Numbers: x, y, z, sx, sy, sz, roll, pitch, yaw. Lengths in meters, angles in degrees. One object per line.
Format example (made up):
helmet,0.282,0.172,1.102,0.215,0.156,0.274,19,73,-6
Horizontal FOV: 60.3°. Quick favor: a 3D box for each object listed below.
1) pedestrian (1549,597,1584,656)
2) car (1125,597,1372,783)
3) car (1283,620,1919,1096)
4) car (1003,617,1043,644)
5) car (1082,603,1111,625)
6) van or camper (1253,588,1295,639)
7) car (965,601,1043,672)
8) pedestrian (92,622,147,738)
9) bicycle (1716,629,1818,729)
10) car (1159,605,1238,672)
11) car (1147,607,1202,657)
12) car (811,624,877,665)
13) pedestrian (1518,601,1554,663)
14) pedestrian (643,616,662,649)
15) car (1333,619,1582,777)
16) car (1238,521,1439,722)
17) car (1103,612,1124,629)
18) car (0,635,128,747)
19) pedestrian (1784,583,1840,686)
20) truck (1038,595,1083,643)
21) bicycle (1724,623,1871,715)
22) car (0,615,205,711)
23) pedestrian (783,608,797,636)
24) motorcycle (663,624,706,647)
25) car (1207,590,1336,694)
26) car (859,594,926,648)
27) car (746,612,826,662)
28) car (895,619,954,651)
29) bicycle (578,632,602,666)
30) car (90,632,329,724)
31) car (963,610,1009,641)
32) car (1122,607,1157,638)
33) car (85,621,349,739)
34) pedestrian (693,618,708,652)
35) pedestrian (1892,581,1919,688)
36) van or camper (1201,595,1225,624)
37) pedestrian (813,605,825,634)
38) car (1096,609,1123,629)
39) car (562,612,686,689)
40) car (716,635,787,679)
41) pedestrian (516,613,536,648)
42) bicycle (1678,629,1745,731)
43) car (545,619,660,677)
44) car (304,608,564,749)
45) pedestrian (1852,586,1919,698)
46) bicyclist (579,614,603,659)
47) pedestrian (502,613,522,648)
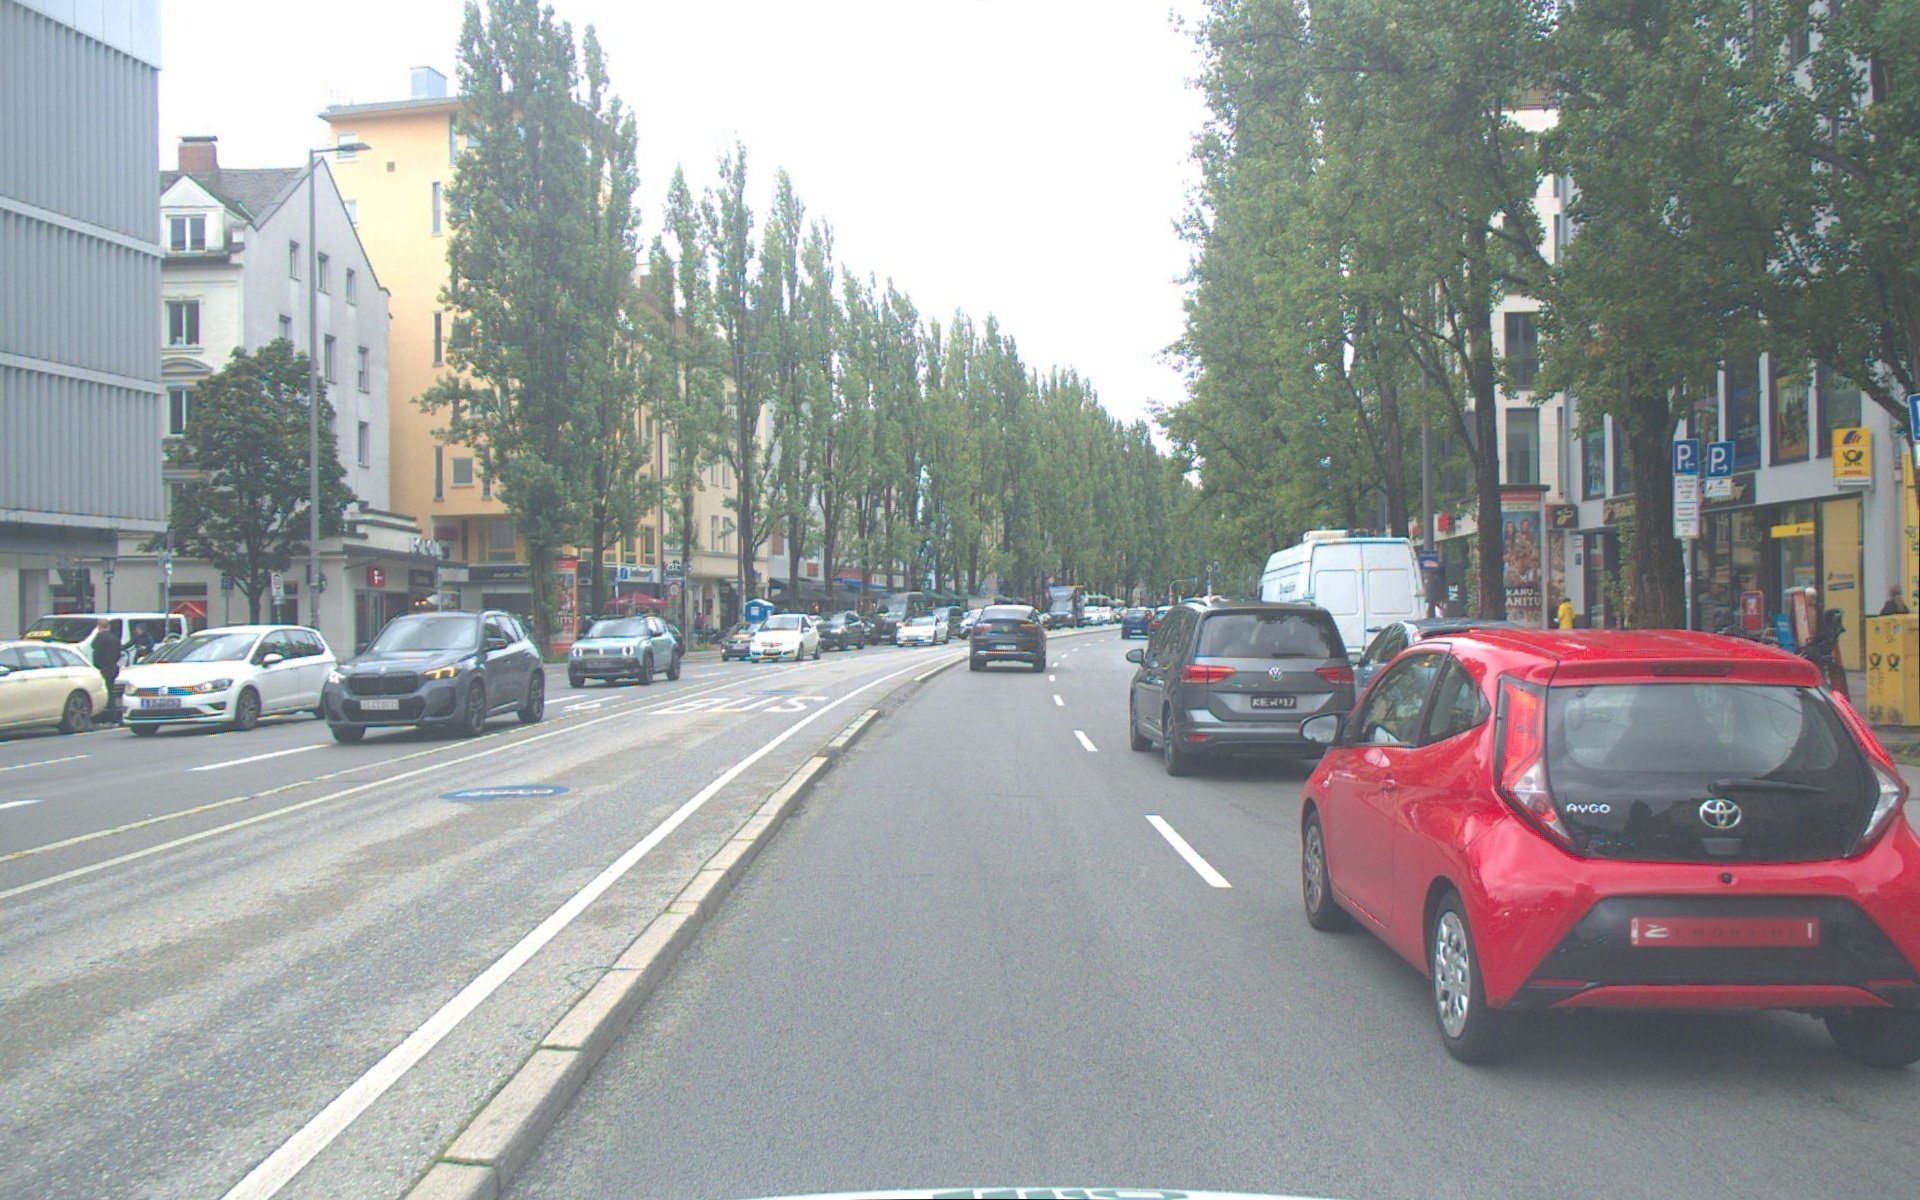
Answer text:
pedestrian,16.621,0.729,45.338,0.555,1.604,0.672,-1,-1,-24
car,2.762,0.816,16.735,1.725,1.642,4.183,0,-1,-1
car,2.520,0.842,6.973,1.631,1.471,3.596,1,-1,0
car,4.150,2.008,108.616,1.951,1.617,5.199,-3,-1,9
car,11.342,1.187,137.520,1.820,1.741,4.540,-2,-1,12
van or camper,20.343,0.876,106.929,2.408,3.167,4.719,-2,-1,13
car,1.154,0.890,41.988,1.841,1.670,4.584,-1,-1,2
pedestrian,-14.104,1.321,27.778,0.776,1.900,0.840,-1,-1,-26
bicycle,10.126,0.972,20.804,0.467,1.180,1.633,0,0,0
car,6.332,0.998,44.225,1.691,1.716,4.410,0,-1,3
car,7.834,1.153,60.207,1.884,1.730,4.653,0,-1,8
car,-5.164,1.967,74.234,1.975,1.746,4.986,-1,-1,8
pedestrian,14.975,0.819,43.010,0.668,1.585,0.750,-1,-1,1
pedestrian,-15.311,1.623,82.367,0.620,1.589,0.816,-1,-1,13
car,5.329,0.983,18.237,1.689,1.479,4.149,1,0,3
car,5.750,0.350,25.861,1.952,2.790,5.555,1,-1,1
car,15.212,2.043,164.024,1.631,1.624,4.003,0,-1,12
car,-14.836,1.372,24.715,1.936,1.579,5.088,-1,-1,4
pedestrian,14.719,0.595,28.559,0.707,1.755,0.737,-2,-1,37
truck,7.603,1.416,124.303,2.242,3.381,7.163,-2,-1,12
bicycle,11.056,0.905,21.884,1.593,1.180,0.705,0,0,13
car,-20.180,1.411,38.864,1.951,2.049,5.116,-1,0,8
pedestrian,-10.499,1.341,102.221,0.624,1.730,0.648,-1,-1,12
motorcycle,-13.332,1.713,80.067,2.017,1.054,0.485,1,-1,-9
car,5.927,0.772,31.980,1.888,1.836,4.782,1,-1,4
car,-3.470,1.081,86.637,2.123,2.651,6.069,-1,-1,11
car,-5.923,1.240,56.787,1.912,1.617,4.002,-1,-1,6
car,-1.668,1.655,79.149,1.761,1.419,4.694,-1,-1,12
bicycle,-13.354,1.764,59.764,0.360,1.222,1.154,-1,-1,13
car,-14.395,1.448,32.095,1.817,1.495,4.986,-3,-1,7
car,1.503,1.407,93.159,1.869,1.631,4.359,-1,-1,11
car,9.687,1.225,89.114,1.722,1.648,3.749,0,-1,8
car,-11.386,1.168,25.718,1.952,1.628,4.291,-1,-1,3
pedestrian,-13.822,1.847,88.123,0.527,1.777,0.756,0,-1,12
pedestrian,15.420,0.542,26.343,0.677,1.678,0.798,-1,-1,-1
van or camper,23.346,0.866,152.526,1.991,2.519,4.003,-1,-2,12
pedestrian,-9.365,1.279,109.982,0.624,1.894,0.648,-1,-1,12
car,13.326,1.698,147.002,1.898,1.671,4.467,-2,-1,11
car,-7.604,1.113,37.790,1.779,1.572,4.001,-3,-1,2
car,-7.825,2.119,62.389,1.746,1.491,4.003,-2,-1,6
pedestrian,-18.525,1.302,70.598,0.619,1.460,0.778,-1,-1,-1
bicycle,9.280,0.960,20.470,0.467,1.180,1.826,0,0,16
car,-11.927,1.586,55.422,1.721,1.848,3.998,0,-1,24
car,-6.976,0.979,22.470,1.952,1.649,4.414,-2,-1,2
pedestrian,14.258,0.623,25.136,0.784,1.665,1.022,-1,-1,-4
bicyclist,-13.350,1.306,59.850,0.491,1.620,0.835,-1,-1,12
pedestrian,-19.132,1.295,70.620,0.619,1.460,0.778,-1,-1,-1
